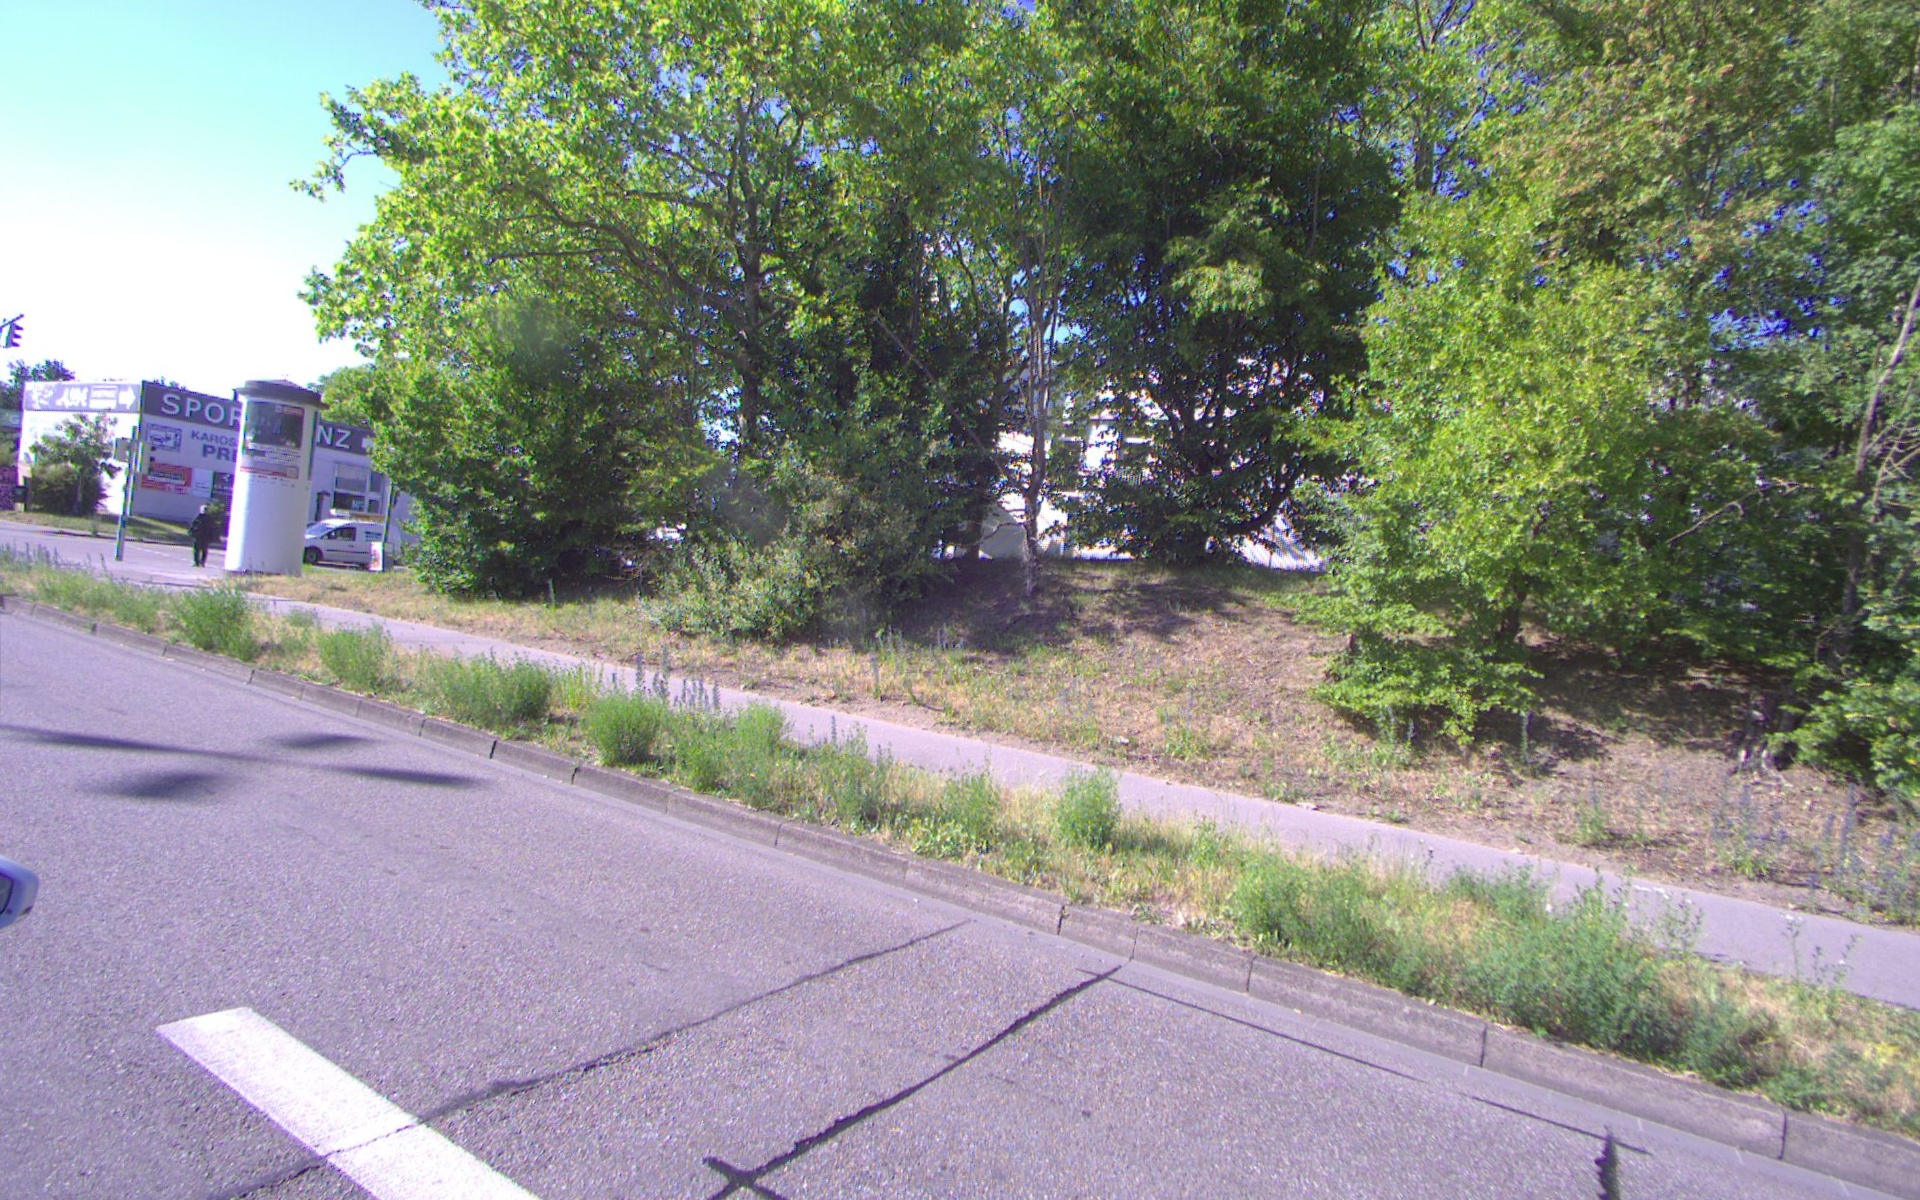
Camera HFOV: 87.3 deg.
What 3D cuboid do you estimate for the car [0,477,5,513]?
[{"bbox_3d":[-48.302,-5.351,47.700,1.663,1.726,4.003,7,-1,16],"label":"car"}]

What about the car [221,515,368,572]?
[{"bbox_3d":[-26.634,-2.245,40.429,1.965,1.571,4.415,7,-1,28],"label":"car"}]

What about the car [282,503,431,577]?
[{"bbox_3d":[-23.403,-2.296,39.187,1.965,2.171,4.415,7,-1,28],"label":"car"}]

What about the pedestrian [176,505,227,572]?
[{"bbox_3d":[-21.205,-1.721,28.131,0.841,1.743,0.822,7,0,39],"label":"pedestrian"}]
